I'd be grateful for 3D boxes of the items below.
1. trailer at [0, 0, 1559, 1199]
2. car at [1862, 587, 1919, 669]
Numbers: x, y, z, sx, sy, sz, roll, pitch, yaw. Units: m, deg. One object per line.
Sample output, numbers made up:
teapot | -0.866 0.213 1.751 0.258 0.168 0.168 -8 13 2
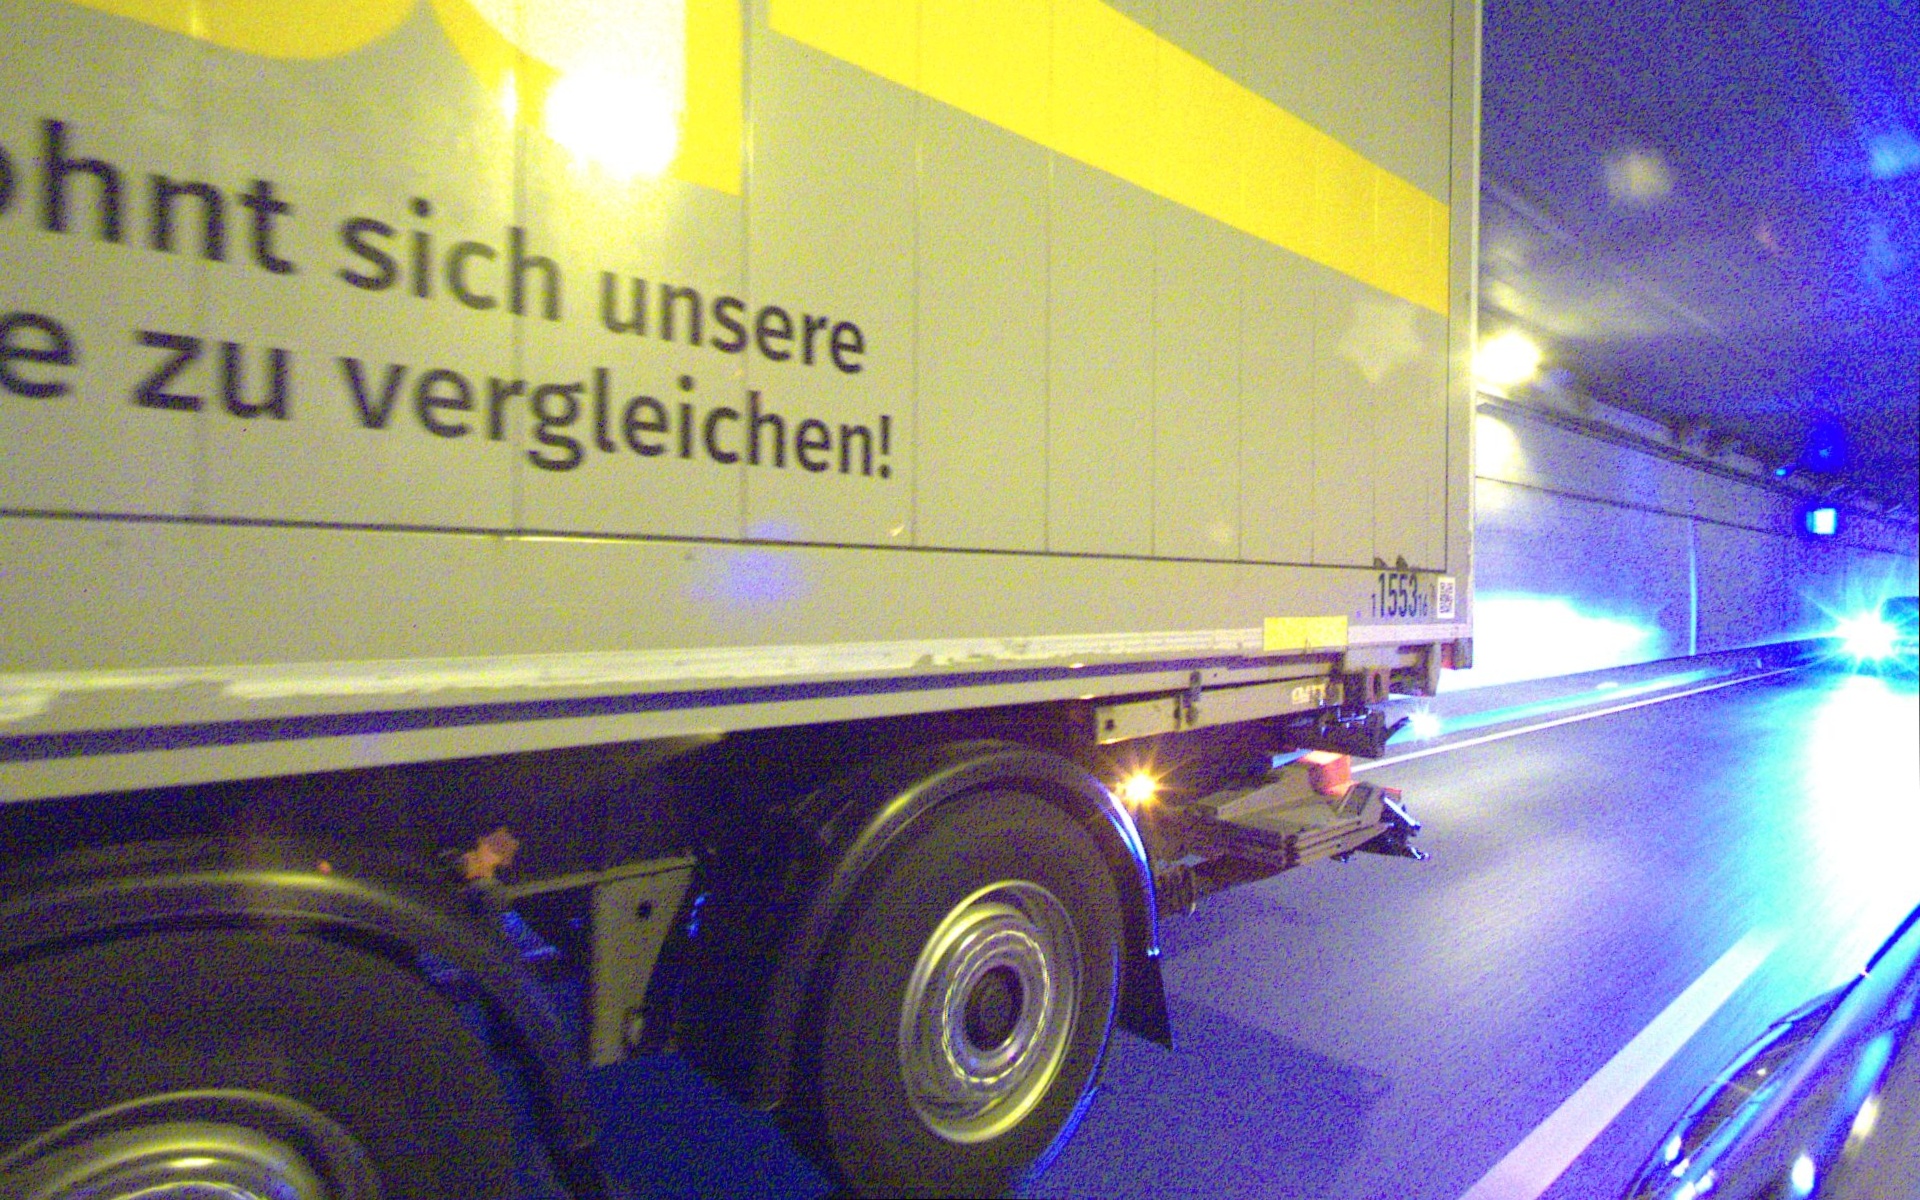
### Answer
trailer | -1.959 -0.578 2.133 8.790 3.907 2.880 0 0 -41
car | 18.369 0.470 18.971 3.733 1.420 1.733 -1 1 -41
